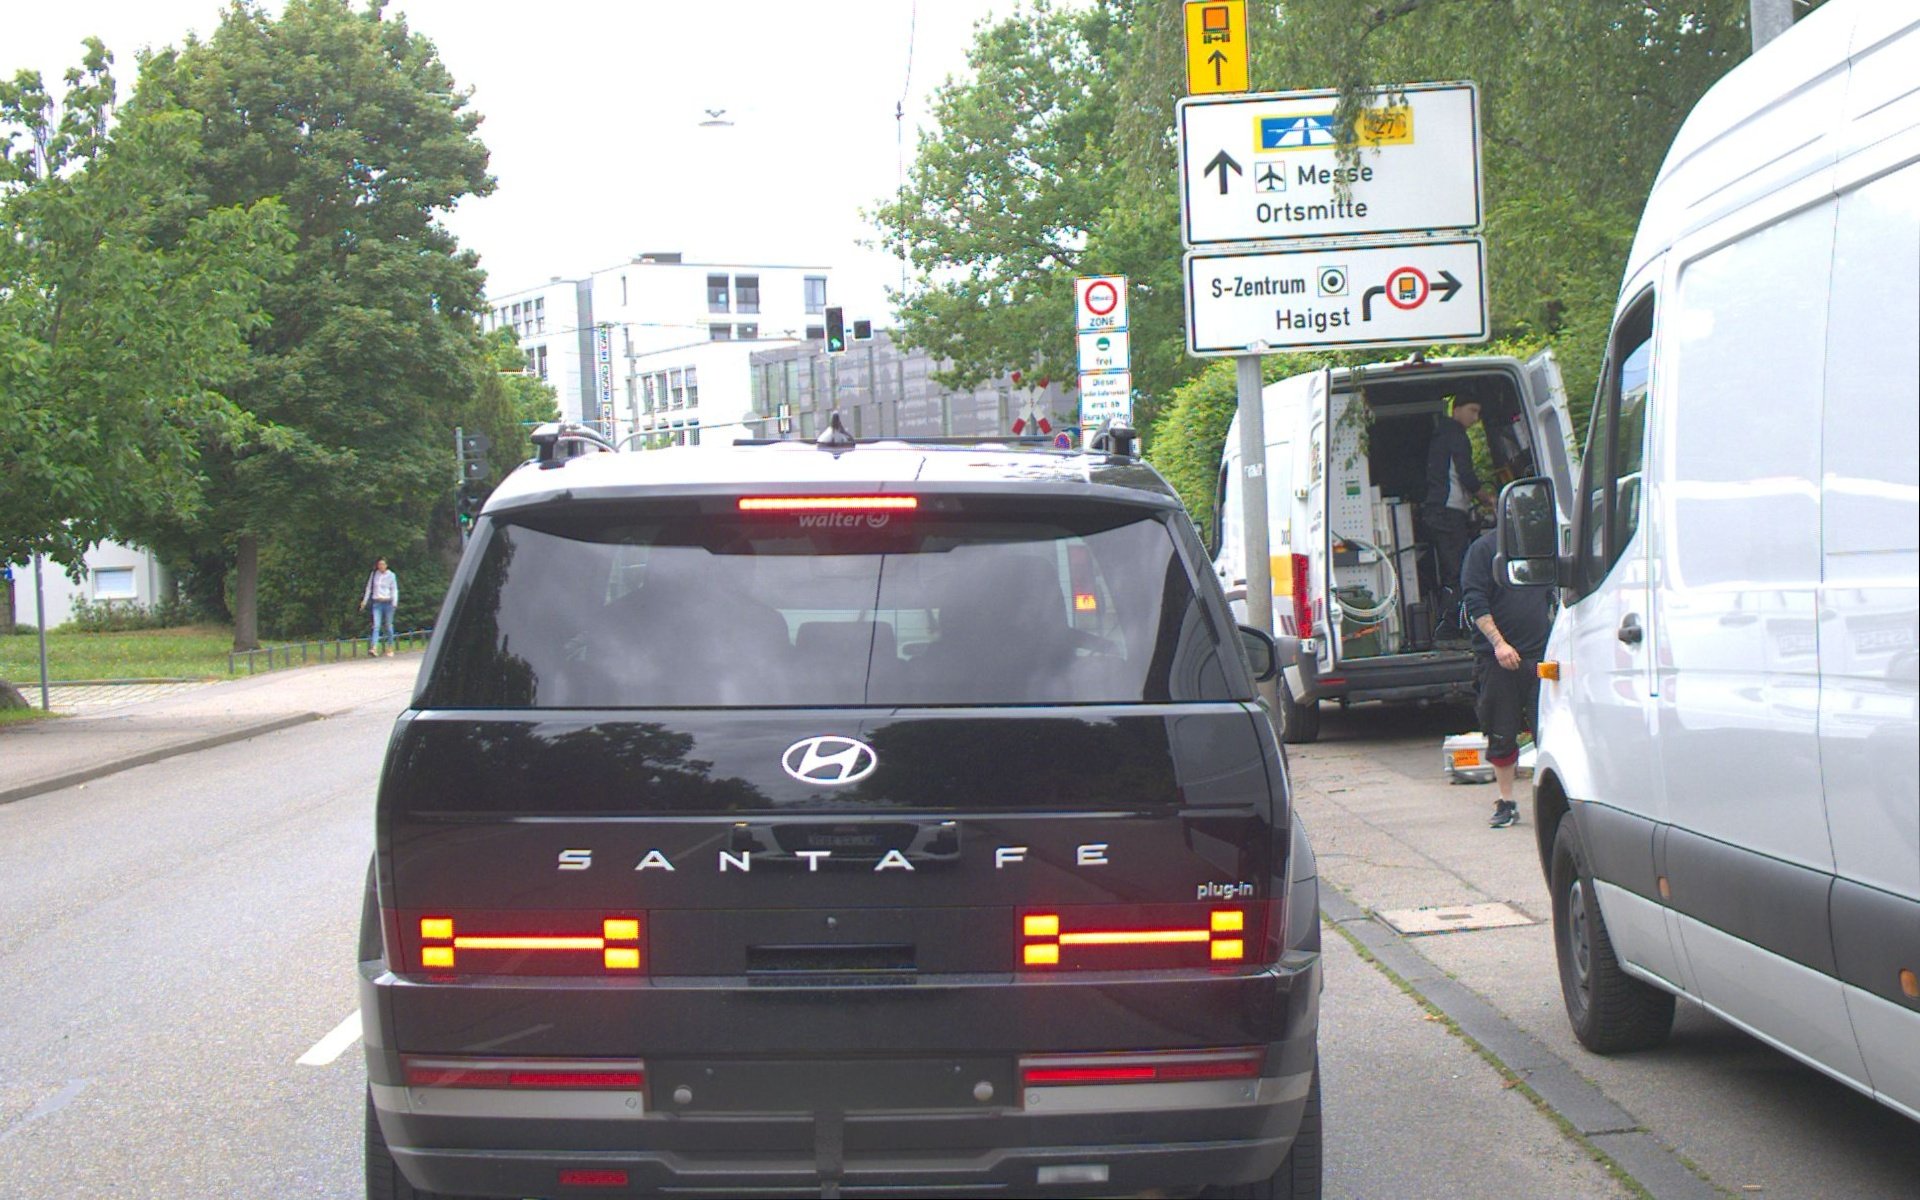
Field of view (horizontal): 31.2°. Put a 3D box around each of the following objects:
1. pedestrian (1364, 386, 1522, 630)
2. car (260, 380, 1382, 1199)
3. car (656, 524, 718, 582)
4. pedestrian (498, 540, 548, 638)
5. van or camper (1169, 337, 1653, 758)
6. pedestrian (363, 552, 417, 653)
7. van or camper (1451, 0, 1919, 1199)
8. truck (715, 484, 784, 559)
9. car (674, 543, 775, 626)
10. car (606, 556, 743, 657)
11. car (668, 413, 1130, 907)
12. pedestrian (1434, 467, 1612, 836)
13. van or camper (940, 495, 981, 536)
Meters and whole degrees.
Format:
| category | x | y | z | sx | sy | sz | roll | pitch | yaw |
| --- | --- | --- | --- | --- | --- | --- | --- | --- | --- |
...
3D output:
| category | x | y | z | sx | sy | sz | roll | pitch | yaw |
| --- | --- | --- | --- | --- | --- | --- | --- | --- | --- |
| pedestrian | 3.356 | -0.630 | 23.917 | 0.798 | 1.638 | 0.739 | -3 | 0 | -12 |
| car | -0.262 | 0.504 | 7.869 | 1.897 | 1.770 | 3.994 | 1 | 1 | -1 |
| car | -11.467 | -1.971 | 144.214 | 2.332 | 2.307 | 4.959 | -2 | 1 | -6 |
| pedestrian | -9.049 | -0.238 | 71.226 | 0.830 | 2.007 | 1.047 | 1 | 0 | 2 |
| van or camper | 3.080 | -0.333 | 25.263 | 2.340 | 2.486 | 6.603 | -5 | 0 | -1 |
| pedestrian | -9.974 | 0.040 | 60.174 | 0.767 | 1.742 | 0.904 | -1 | 0 | 0 |
| van or camper | 2.599 | -0.019 | 6.989 | 1.991 | 2.616 | 6.544 | -5 | 1 | -1 |
| truck | -11.506 | -4.241 | 187.053 | 3.107 | 3.846 | 9.623 | -2 | 1 | -6 |
| car | -4.669 | -0.320 | 68.577 | 1.701 | 1.478 | 4.000 | -4 | 1 | -1 |
| car | -4.463 | 0.072 | 54.338 | 1.756 | 1.398 | 4.414 | -4 | 1 | -1 |
| car | -0.278 | 0.230 | 16.333 | 1.897 | 2.035 | 3.994 | 1 | 1 | -1 |
| pedestrian | 2.694 | 0.236 | 16.506 | 0.789 | 1.715 | 0.752 | 1 | 0 | 7 |
| van or camper | 0.019 | -4.227 | 172.473 | 1.795 | 1.992 | 3.824 | 1 | 1 | -4 |
